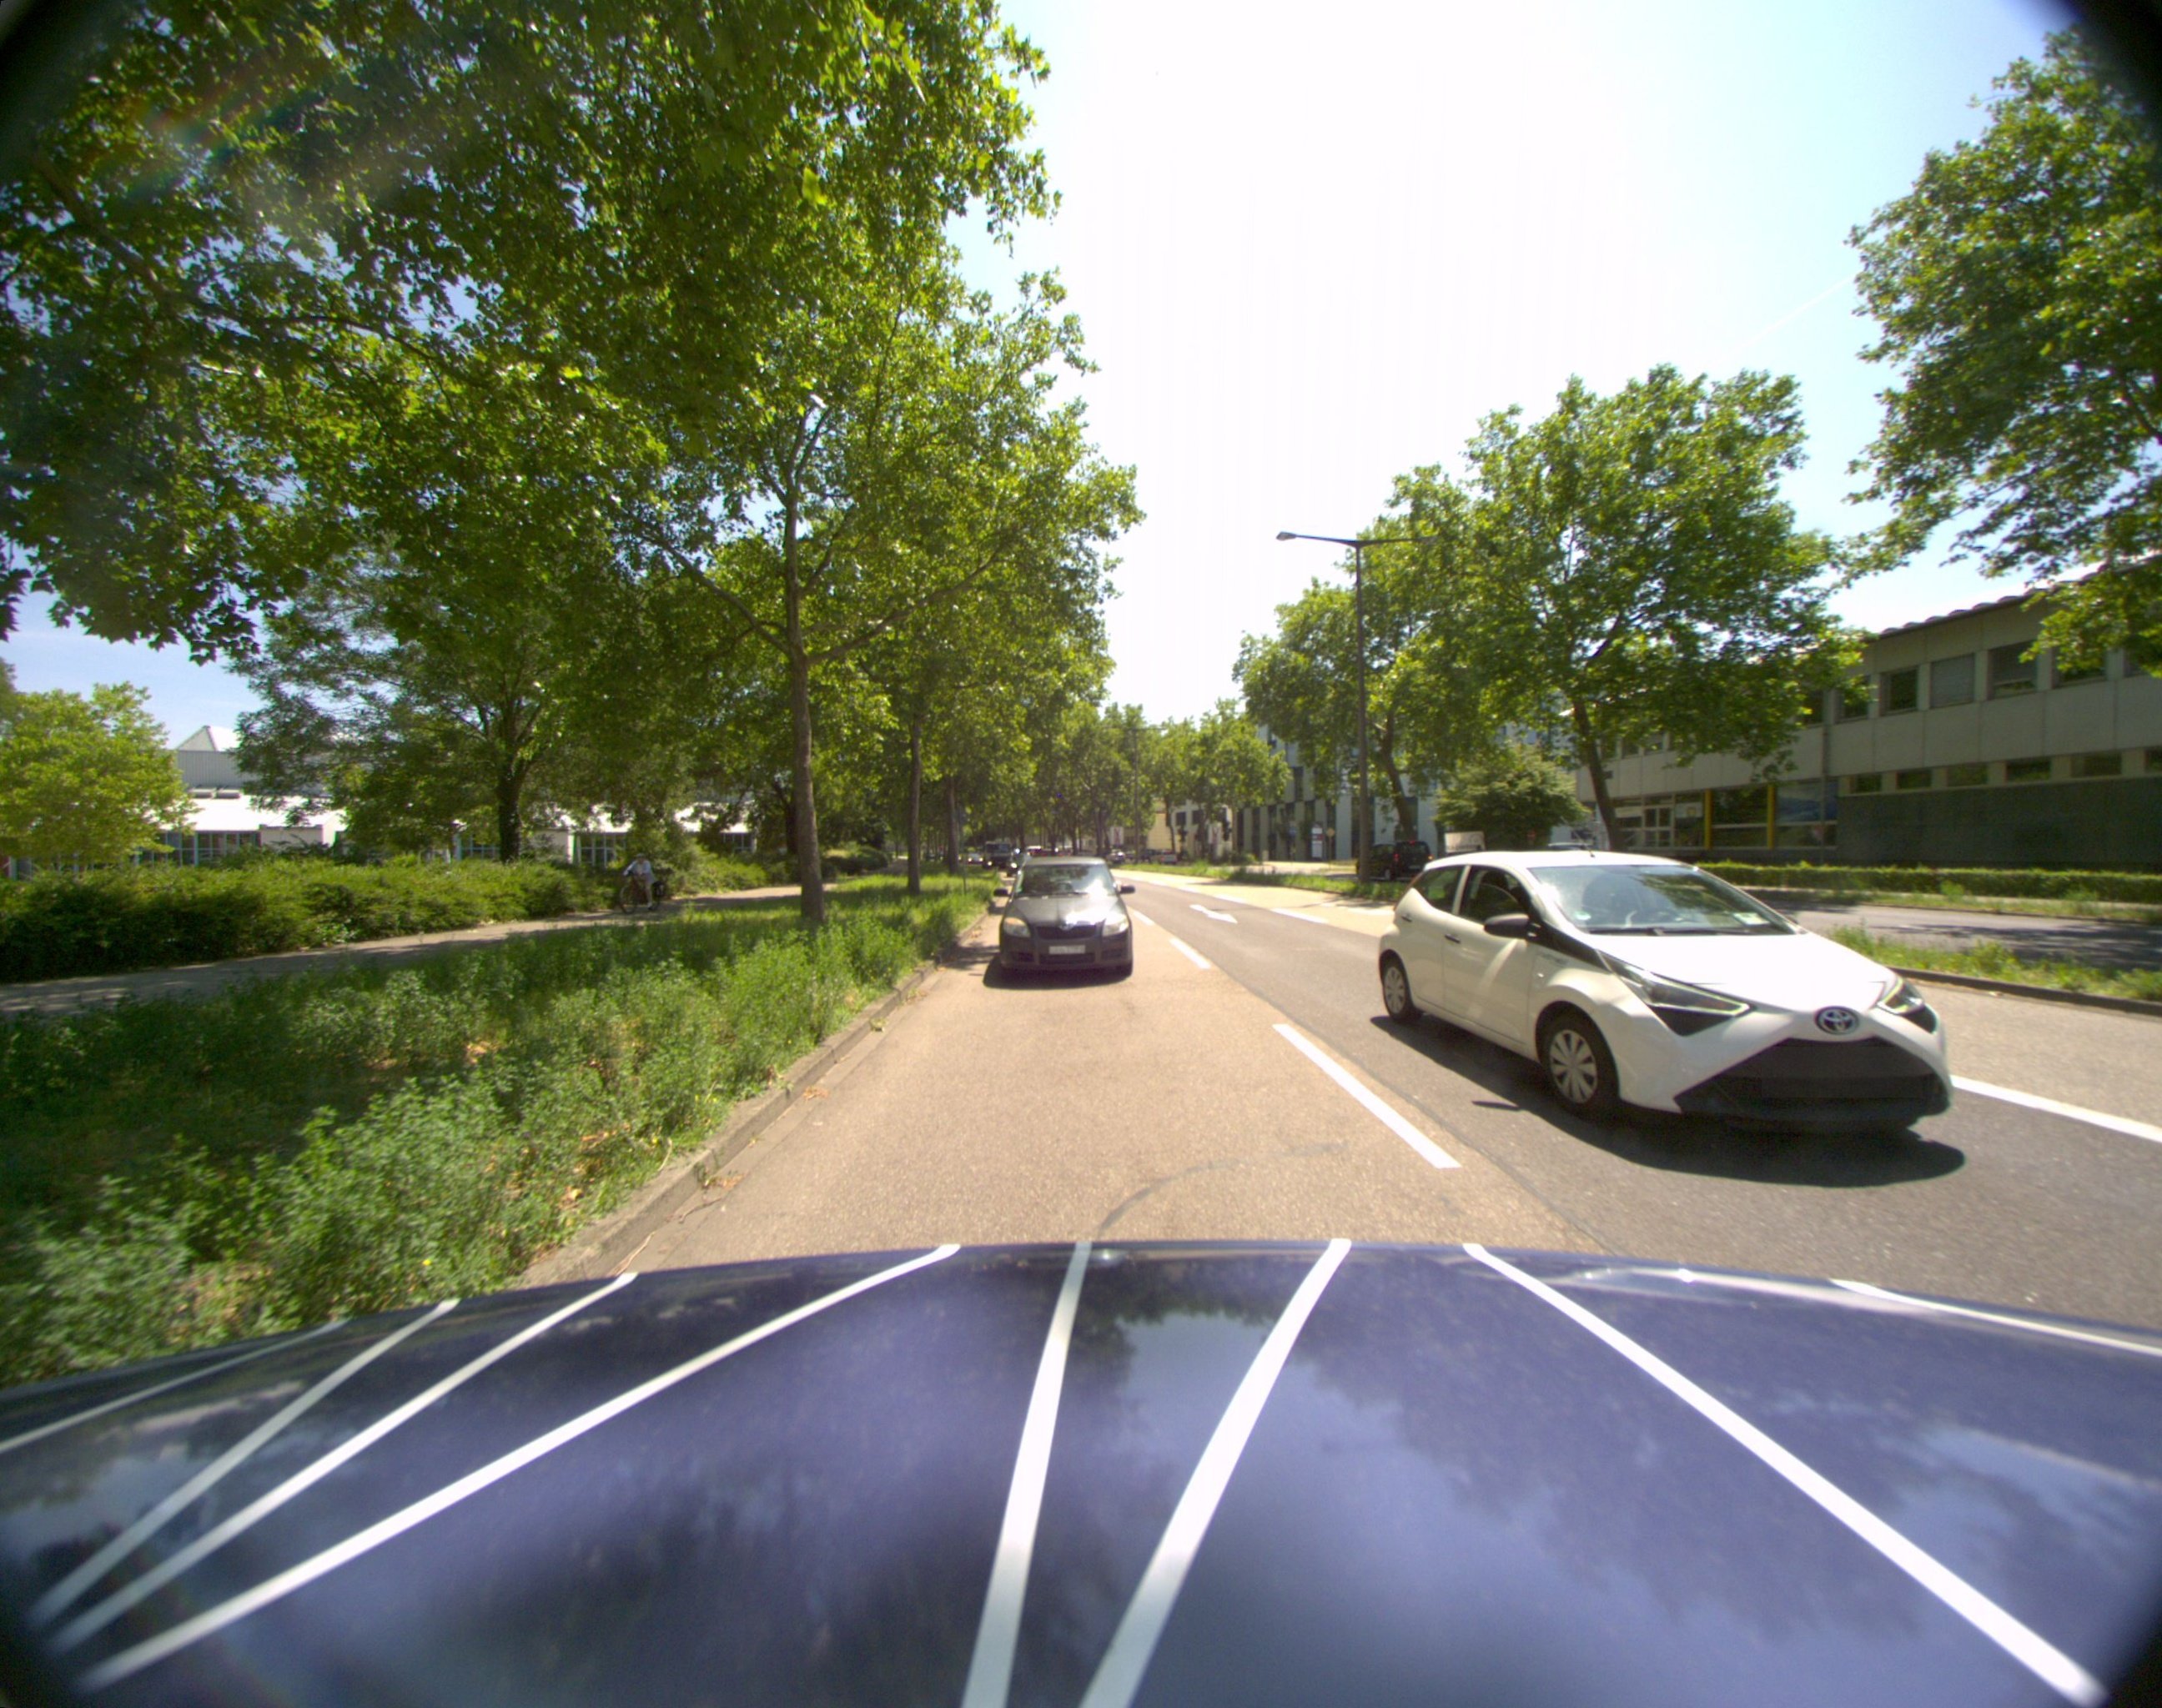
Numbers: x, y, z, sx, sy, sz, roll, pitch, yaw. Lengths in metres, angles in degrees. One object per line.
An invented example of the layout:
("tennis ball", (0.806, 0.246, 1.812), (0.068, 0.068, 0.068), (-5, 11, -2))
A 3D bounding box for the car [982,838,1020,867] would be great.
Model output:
("car", (-7.819, -0.200, 73.556), (2.921, 2.639, 6.358), (0, 1, -12))

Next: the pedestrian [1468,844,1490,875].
("pedestrian", (20.288, 0.270, 38.707), (0.644, 1.551, 0.790), (0, 1, -9))

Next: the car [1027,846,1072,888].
("car", (-1.580, 0.569, 36.242), (1.999, 1.871, 3.998), (0, 0, -4))

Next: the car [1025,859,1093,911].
("car", (-0.662, 0.851, 22.401), (1.791, 1.325, 3.741), (-1, 1, -2))

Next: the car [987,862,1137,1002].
("car", (-0.283, 0.893, 10.421), (1.654, 1.454, 3.863), (-1, 1, -2))

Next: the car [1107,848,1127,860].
("car", (4.494, -0.069, 94.806), (1.737, 1.451, 3.670), (0, 1, -9))

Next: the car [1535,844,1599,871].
("car", (30.843, 0.197, 48.352), (1.820, 1.638, 3.527), (-2, 1, 1))

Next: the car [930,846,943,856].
("car", (-28.382, -0.569, 149.105), (2.002, 1.827, 3.993), (0, 1, -20))

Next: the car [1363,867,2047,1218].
("car", (3.396, 0.855, 5.141), (1.623, 1.437, 3.651), (0, 1, 0))

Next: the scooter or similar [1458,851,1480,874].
("scooter or similar", (20.173, 0.449, 39.528), (0.680, 1.157, 0.858), (0, 1, -8))

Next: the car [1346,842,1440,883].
("car", (13.745, 0.326, 33.756), (1.917, 1.669, 4.440), (-1, 0, -7))

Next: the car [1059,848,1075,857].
("car", (-2.196, -0.280, 118.900), (1.758, 1.435, 3.667), (0, 1, -14))

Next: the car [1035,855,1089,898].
("car", (-0.734, 0.790, 28.782), (1.878, 1.448, 3.784), (-1, 1, -2))

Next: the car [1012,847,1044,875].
("car", (-3.512, 0.428, 50.222), (1.999, 1.783, 3.998), (0, 1, -4))

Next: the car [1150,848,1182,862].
("car", (8.426, 0.079, 75.817), (1.860, 1.410, 4.542), (0, 1, -11))

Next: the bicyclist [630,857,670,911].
("bicyclist", (-10.917, 0.750, 19.252), (0.600, 1.331, 0.666), (0, 1, 4))

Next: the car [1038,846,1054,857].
("car", (-5.451, -0.360, 116.988), (1.956, 1.646, 4.616), (0, 1, -10))

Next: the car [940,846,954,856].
("car", (-24.055, -0.501, 136.637), (2.001, 1.827, 3.994), (0, 1, -16))

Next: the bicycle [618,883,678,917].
("bicycle", (-10.919, 1.139, 19.210), (0.465, 0.760, 1.669), (0, 0, 4))

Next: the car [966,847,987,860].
("car", (-13.074, -0.084, 94.887), (2.001, 1.608, 3.994), (0, 1, -16))

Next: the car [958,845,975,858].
("car", (-16.690, -0.326, 110.636), (2.001, 1.827, 3.994), (0, 1, -16))
